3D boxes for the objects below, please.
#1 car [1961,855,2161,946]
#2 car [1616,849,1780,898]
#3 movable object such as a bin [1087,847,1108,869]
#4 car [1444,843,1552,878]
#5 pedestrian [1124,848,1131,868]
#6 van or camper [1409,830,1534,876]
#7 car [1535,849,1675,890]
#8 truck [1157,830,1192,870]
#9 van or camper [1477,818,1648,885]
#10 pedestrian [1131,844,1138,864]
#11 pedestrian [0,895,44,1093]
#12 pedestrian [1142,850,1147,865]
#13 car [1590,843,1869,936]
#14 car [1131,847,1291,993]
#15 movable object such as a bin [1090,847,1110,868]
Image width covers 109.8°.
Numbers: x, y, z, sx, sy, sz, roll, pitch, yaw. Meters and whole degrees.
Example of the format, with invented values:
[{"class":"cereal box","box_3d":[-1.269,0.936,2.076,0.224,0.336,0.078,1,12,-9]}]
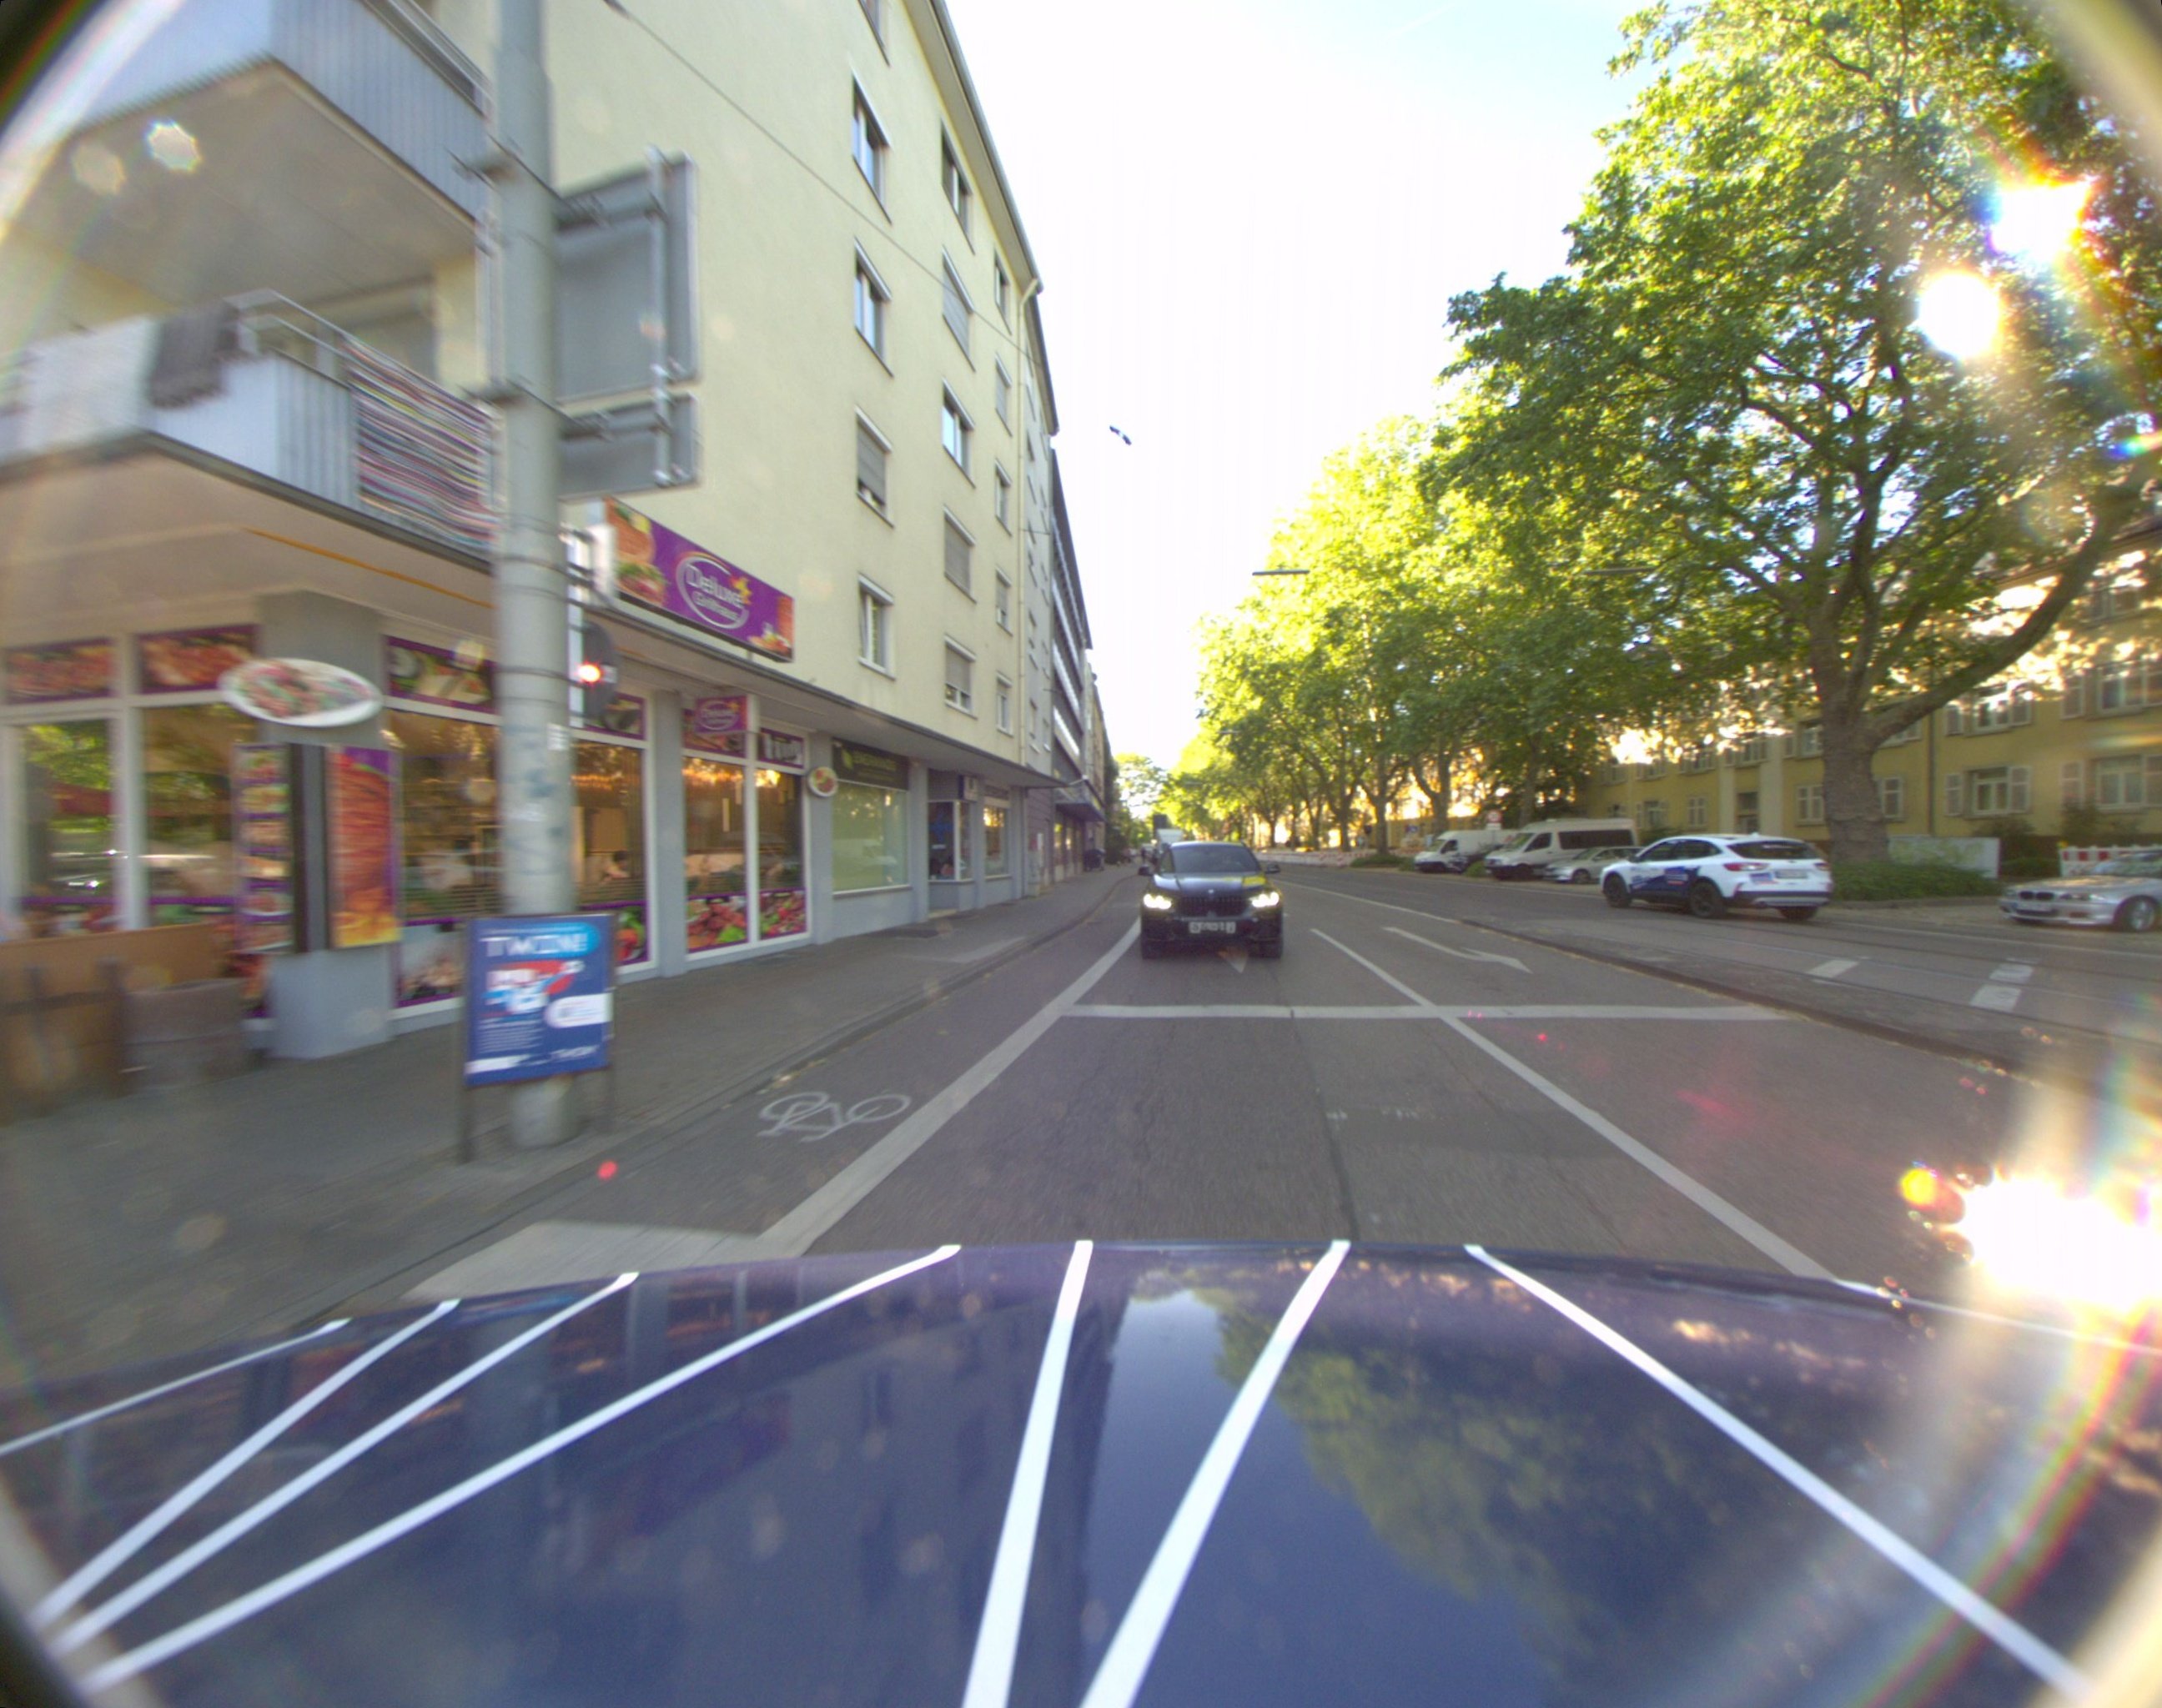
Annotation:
[{"class":"car","box_3d":[18.653,0.763,13.289,4.078,1.361,1.845,-2,1,7]},{"class":"car","box_3d":[20.172,0.615,24.972,3.859,1.438,1.694,-2,1,7]},{"class":"movable object such as a bin","box_3d":[1.071,0.260,48.498,1.203,1.402,1.372,0,1,7]},{"class":"car","box_3d":[21.393,0.334,39.109,4.537,1.624,1.694,-2,1,7]},{"class":"pedestrian","box_3d":[4.006,0.370,64.801,0.540,1.712,0.630,0,1,7]},{"class":"van or camper","box_3d":[21.625,-0.069,42.243,5.760,2.371,2.157,-2,2,6]},{"class":"car","box_3d":[20.728,0.583,30.210,4.274,1.438,1.694,-2,1,7]},{"class":"truck","box_3d":[7.652,-0.371,62.615,2.343,3.096,5.212,-2,1,2]},{"class":"van or camper","box_3d":[20.718,-0.105,32.941,5.928,2.633,2.157,-2,2,6]},{"class":"pedestrian","box_3d":[4.433,0.012,62.435,0.540,1.662,0.630,0,1,7]},{"class":"pedestrian","box_3d":[-7.620,0.958,5.099,0.493,1.334,0.607,0,1,13]},{"class":"pedestrian","box_3d":[6.188,0.362,74.032,0.540,1.437,0.630,0,1,7]},{"class":"car","box_3d":[12.986,0.621,15.721,1.998,1.622,4.631,-1,0,3]},{"class":"car","box_3d":[1.920,0.819,11.852,1.929,1.742,4.685,-2,1,7]},{"class":"movable object such as a bin","box_3d":[1.269,0.213,50.488,1.203,1.402,1.372,0,1,7]}]
